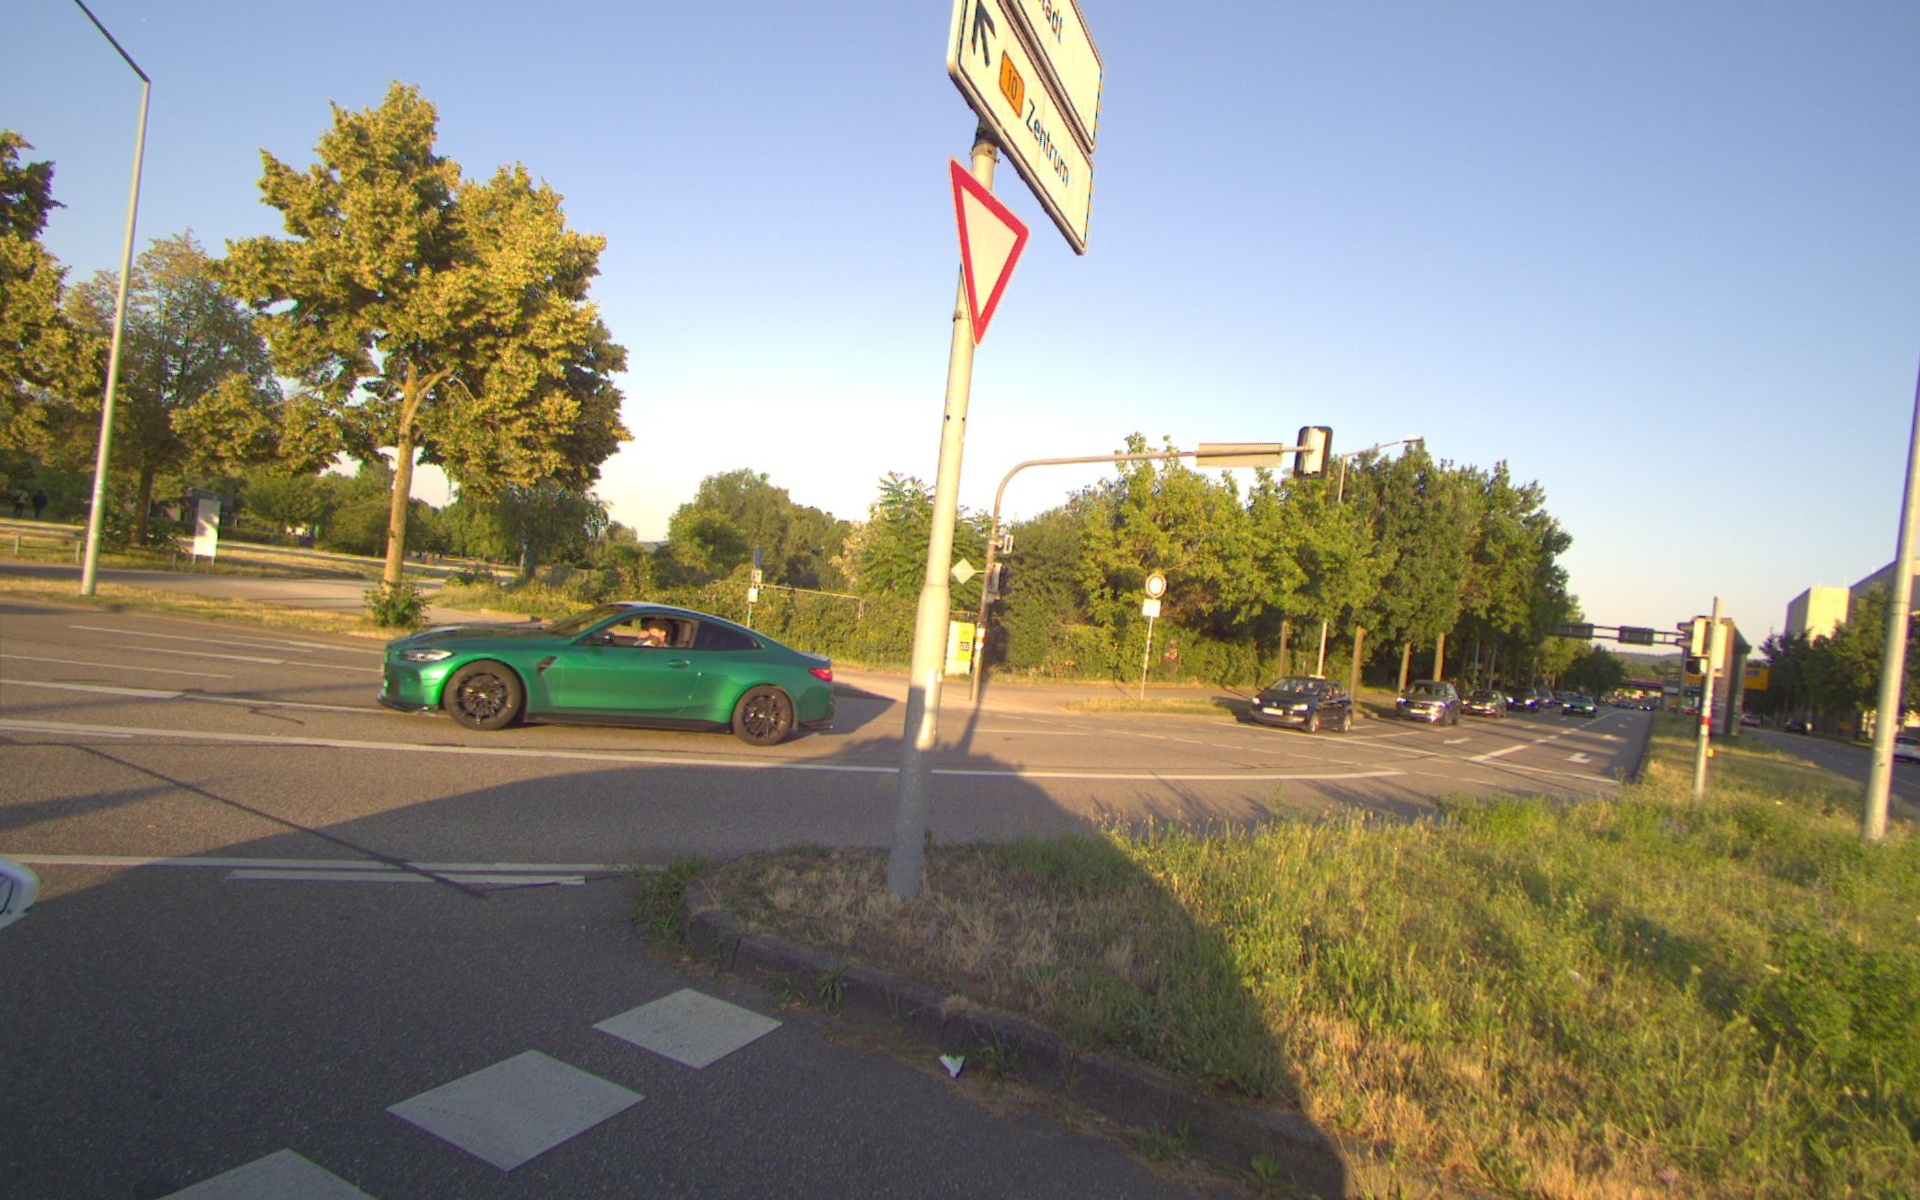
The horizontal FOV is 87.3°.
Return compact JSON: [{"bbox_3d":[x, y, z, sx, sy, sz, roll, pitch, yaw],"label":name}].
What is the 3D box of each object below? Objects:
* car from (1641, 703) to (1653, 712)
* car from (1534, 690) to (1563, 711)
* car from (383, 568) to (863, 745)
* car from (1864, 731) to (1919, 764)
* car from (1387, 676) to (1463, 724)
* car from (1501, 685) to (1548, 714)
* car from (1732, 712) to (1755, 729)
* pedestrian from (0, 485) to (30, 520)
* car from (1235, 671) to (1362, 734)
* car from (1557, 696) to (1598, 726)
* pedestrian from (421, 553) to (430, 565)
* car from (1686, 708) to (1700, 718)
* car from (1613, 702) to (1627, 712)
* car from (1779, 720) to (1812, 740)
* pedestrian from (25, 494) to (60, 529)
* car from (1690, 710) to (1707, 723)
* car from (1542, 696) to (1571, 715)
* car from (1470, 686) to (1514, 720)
[{"bbox_3d":[142.279,22.224,208.288,1.969,1.523,4.758,7,-1,35],"label":"car"},{"bbox_3d":[47.277,8.042,80.837,1.837,1.406,4.156,7,-1,31],"label":"car"},{"bbox_3d":[-3.678,0.667,11.275,4.687,1.387,1.983,8,-1,-32],"label":"car"},{"bbox_3d":[56.164,8.820,60.488,1.969,1.527,5.171,7,-1,36],"label":"car"},{"bbox_3d":[18.294,3.919,39.467,1.969,1.656,4.514,2,-4,34],"label":"car"},{"bbox_3d":[38.304,6.773,68.199,1.970,1.592,4.399,7,-1,38],"label":"car"},{"bbox_3d":[92.836,14.271,119.225,1.970,1.615,3.987,7,-1,37],"label":"car"},{"bbox_3d":[-49.071,-5.061,52.075,0.896,1.637,1.070,7,0,34],"label":"pedestrian"},{"bbox_3d":[8.998,2.734,26.560,1.672,1.370,3.981,4,-3,42],"label":"car"},{"bbox_3d":[43.109,7.731,70.283,1.965,1.598,4.480,9,1,28],"label":"car"},{"bbox_3d":[-79.790,-6.178,150.122,0.847,1.681,0.968,7,0,-37],"label":"pedestrian"},{"bbox_3d":[146.193,22.500,200.596,1.969,1.804,3.988,7,-1,37],"label":"car"},{"bbox_3d":[122.349,19.815,186.423,1.886,1.602,4.168,7,-1,36],"label":"car"},{"bbox_3d":[86.731,13.465,104.435,1.967,1.593,3.992,7,-1,33],"label":"car"},{"bbox_3d":[-48.407,-4.677,53.056,0.896,1.637,1.070,7,0,34],"label":"pedestrian"},{"bbox_3d":[119.816,18.851,163.193,1.969,1.804,3.988,7,-1,37],"label":"car"},{"bbox_3d":[54.557,9.625,91.992,1.839,1.406,4.150,7,-1,36],"label":"car"},{"bbox_3d":[28.443,5.475,53.817,1.854,1.481,4.666,7,-1,28],"label":"car"}]
